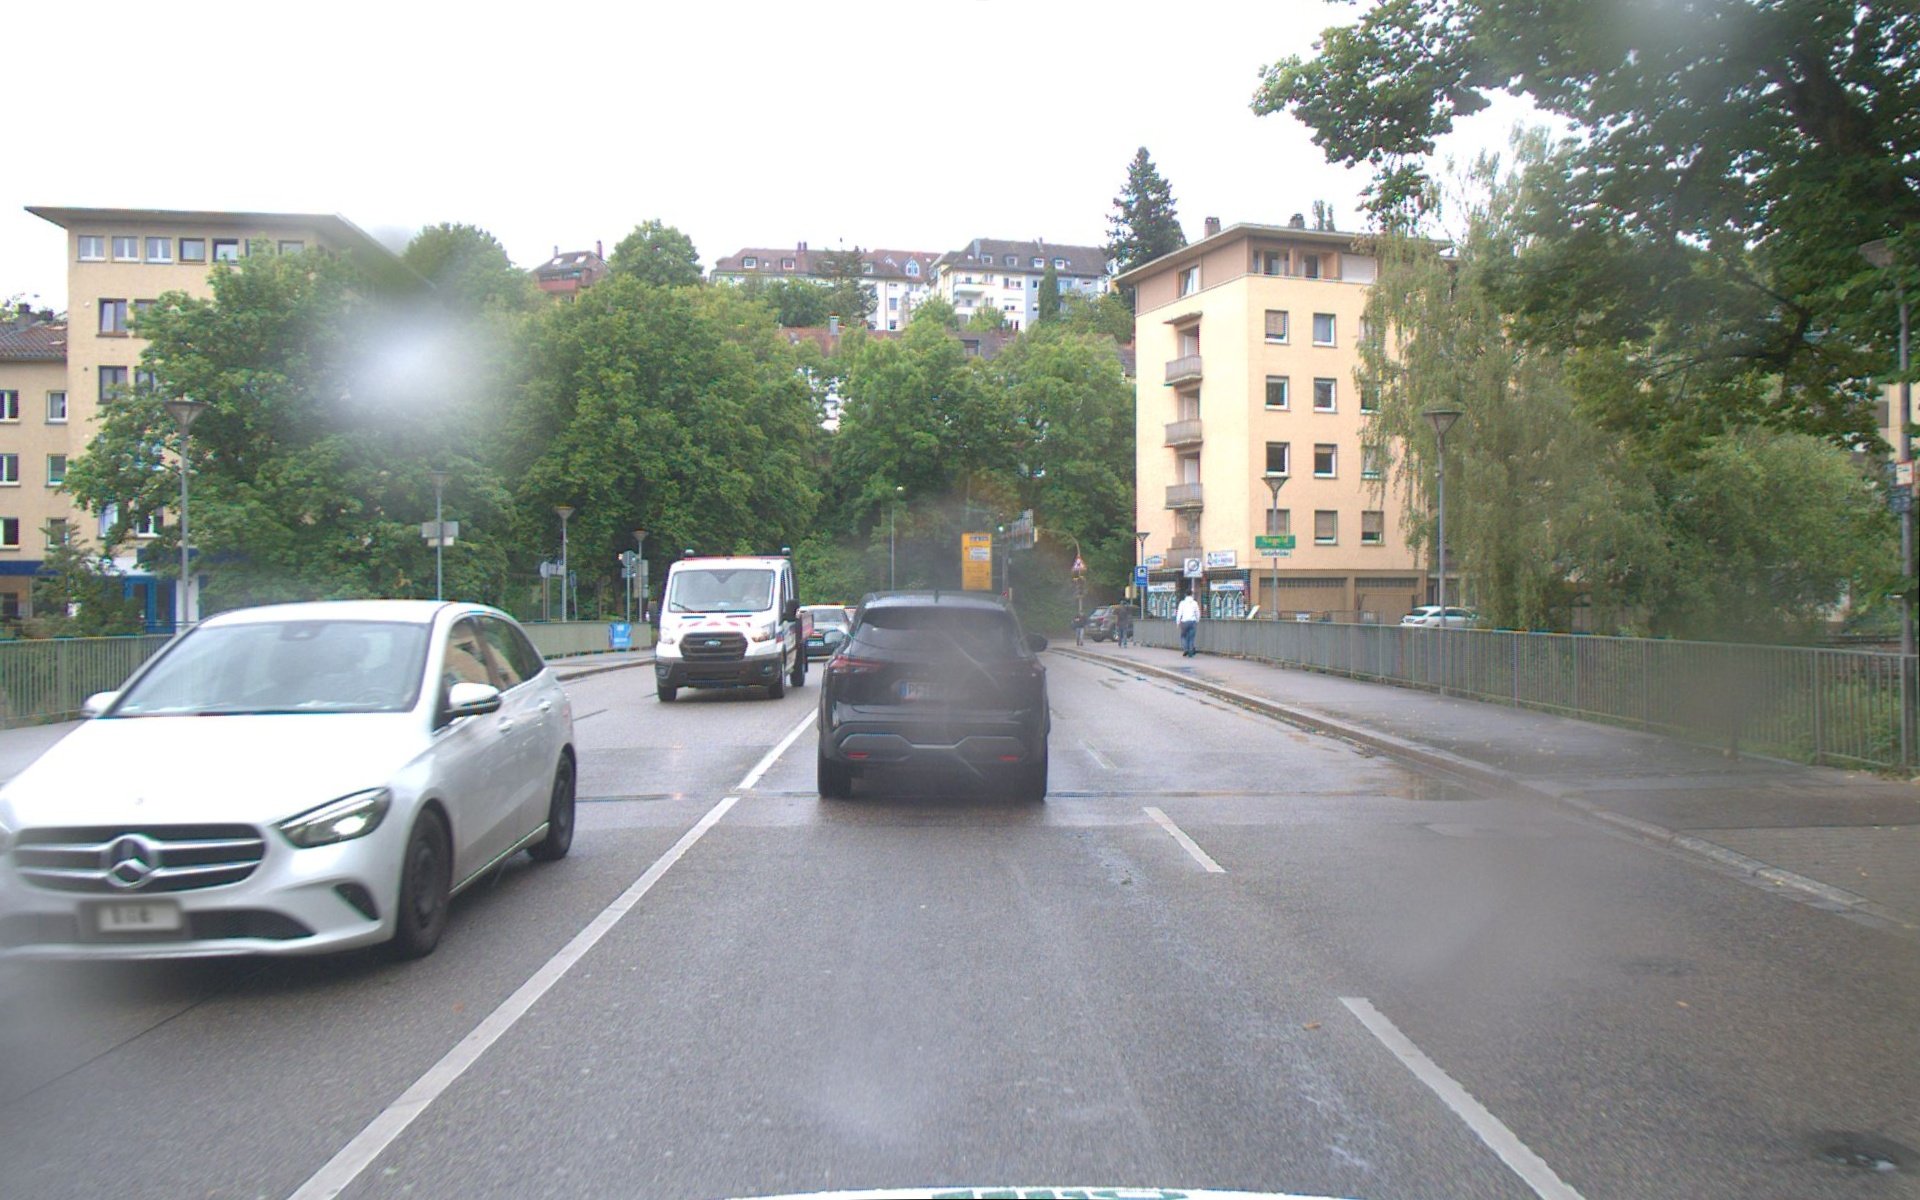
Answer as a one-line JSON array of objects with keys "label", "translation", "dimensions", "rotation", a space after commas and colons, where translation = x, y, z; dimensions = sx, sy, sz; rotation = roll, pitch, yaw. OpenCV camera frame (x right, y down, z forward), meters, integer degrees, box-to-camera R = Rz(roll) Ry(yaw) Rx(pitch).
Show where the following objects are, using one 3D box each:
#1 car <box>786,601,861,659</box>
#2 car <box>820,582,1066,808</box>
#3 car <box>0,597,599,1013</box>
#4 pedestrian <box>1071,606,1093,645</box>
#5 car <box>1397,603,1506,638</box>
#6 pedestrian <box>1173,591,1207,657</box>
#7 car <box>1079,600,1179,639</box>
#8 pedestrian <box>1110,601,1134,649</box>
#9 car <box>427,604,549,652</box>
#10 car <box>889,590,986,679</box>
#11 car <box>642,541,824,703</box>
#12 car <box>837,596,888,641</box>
[{"label": "car", "translation": [-3.643, 0.783, 44.744], "dimensions": [1.710, 1.464, 3.999], "rotation": [-1, 0, -1]}, {"label": "car", "translation": [-0.154, 0.697, 14.099], "dimensions": [1.774, 1.631, 3.999], "rotation": [1, 0, -1]}, {"label": "car", "translation": [-3.125, 0.769, 8.307], "dimensions": [1.745, 1.500, 4.166], "rotation": [-2, 0, -1]}, {"label": "pedestrian", "translation": [5.178, 1.085, 70.338], "dimensions": [0.845, 1.647, 0.839], "rotation": [-1, -1, -1]}, {"label": "car", "translation": [21.544, 0.891, 72.557], "dimensions": [4.369, 1.400, 1.808], "rotation": [-1, 2, -18]}, {"label": "pedestrian", "translation": [6.311, 0.648, 45.396], "dimensions": [0.764, 1.783, 1.060], "rotation": [-1, -1, -1]}, {"label": "car", "translation": [7.914, 0.915, 77.210], "dimensions": [4.314, 1.678, 1.867], "rotation": [-1, -1, -27]}, {"label": "pedestrian", "translation": [5.935, 0.914, 60.577], "dimensions": [0.745, 1.706, 0.781], "rotation": [-2, 0, -1]}, {"label": "car", "translation": [-19.633, 1.149, 68.952], "dimensions": [4.655, 1.886, 1.996], "rotation": [0, 1, -10]}, {"label": "car", "translation": [-0.446, 0.637, 32.785], "dimensions": [1.774, 1.631, 3.999], "rotation": [1, 0, -1]}, {"label": "car", "translation": [-3.649, 0.305, 27.906], "dimensions": [2.243, 2.349, 6.507], "rotation": [-2, 0, -1]}, {"label": "car", "translation": [-4.027, 0.731, 68.865], "dimensions": [1.850, 1.765, 4.370], "rotation": [-1, 0, -1]}]
